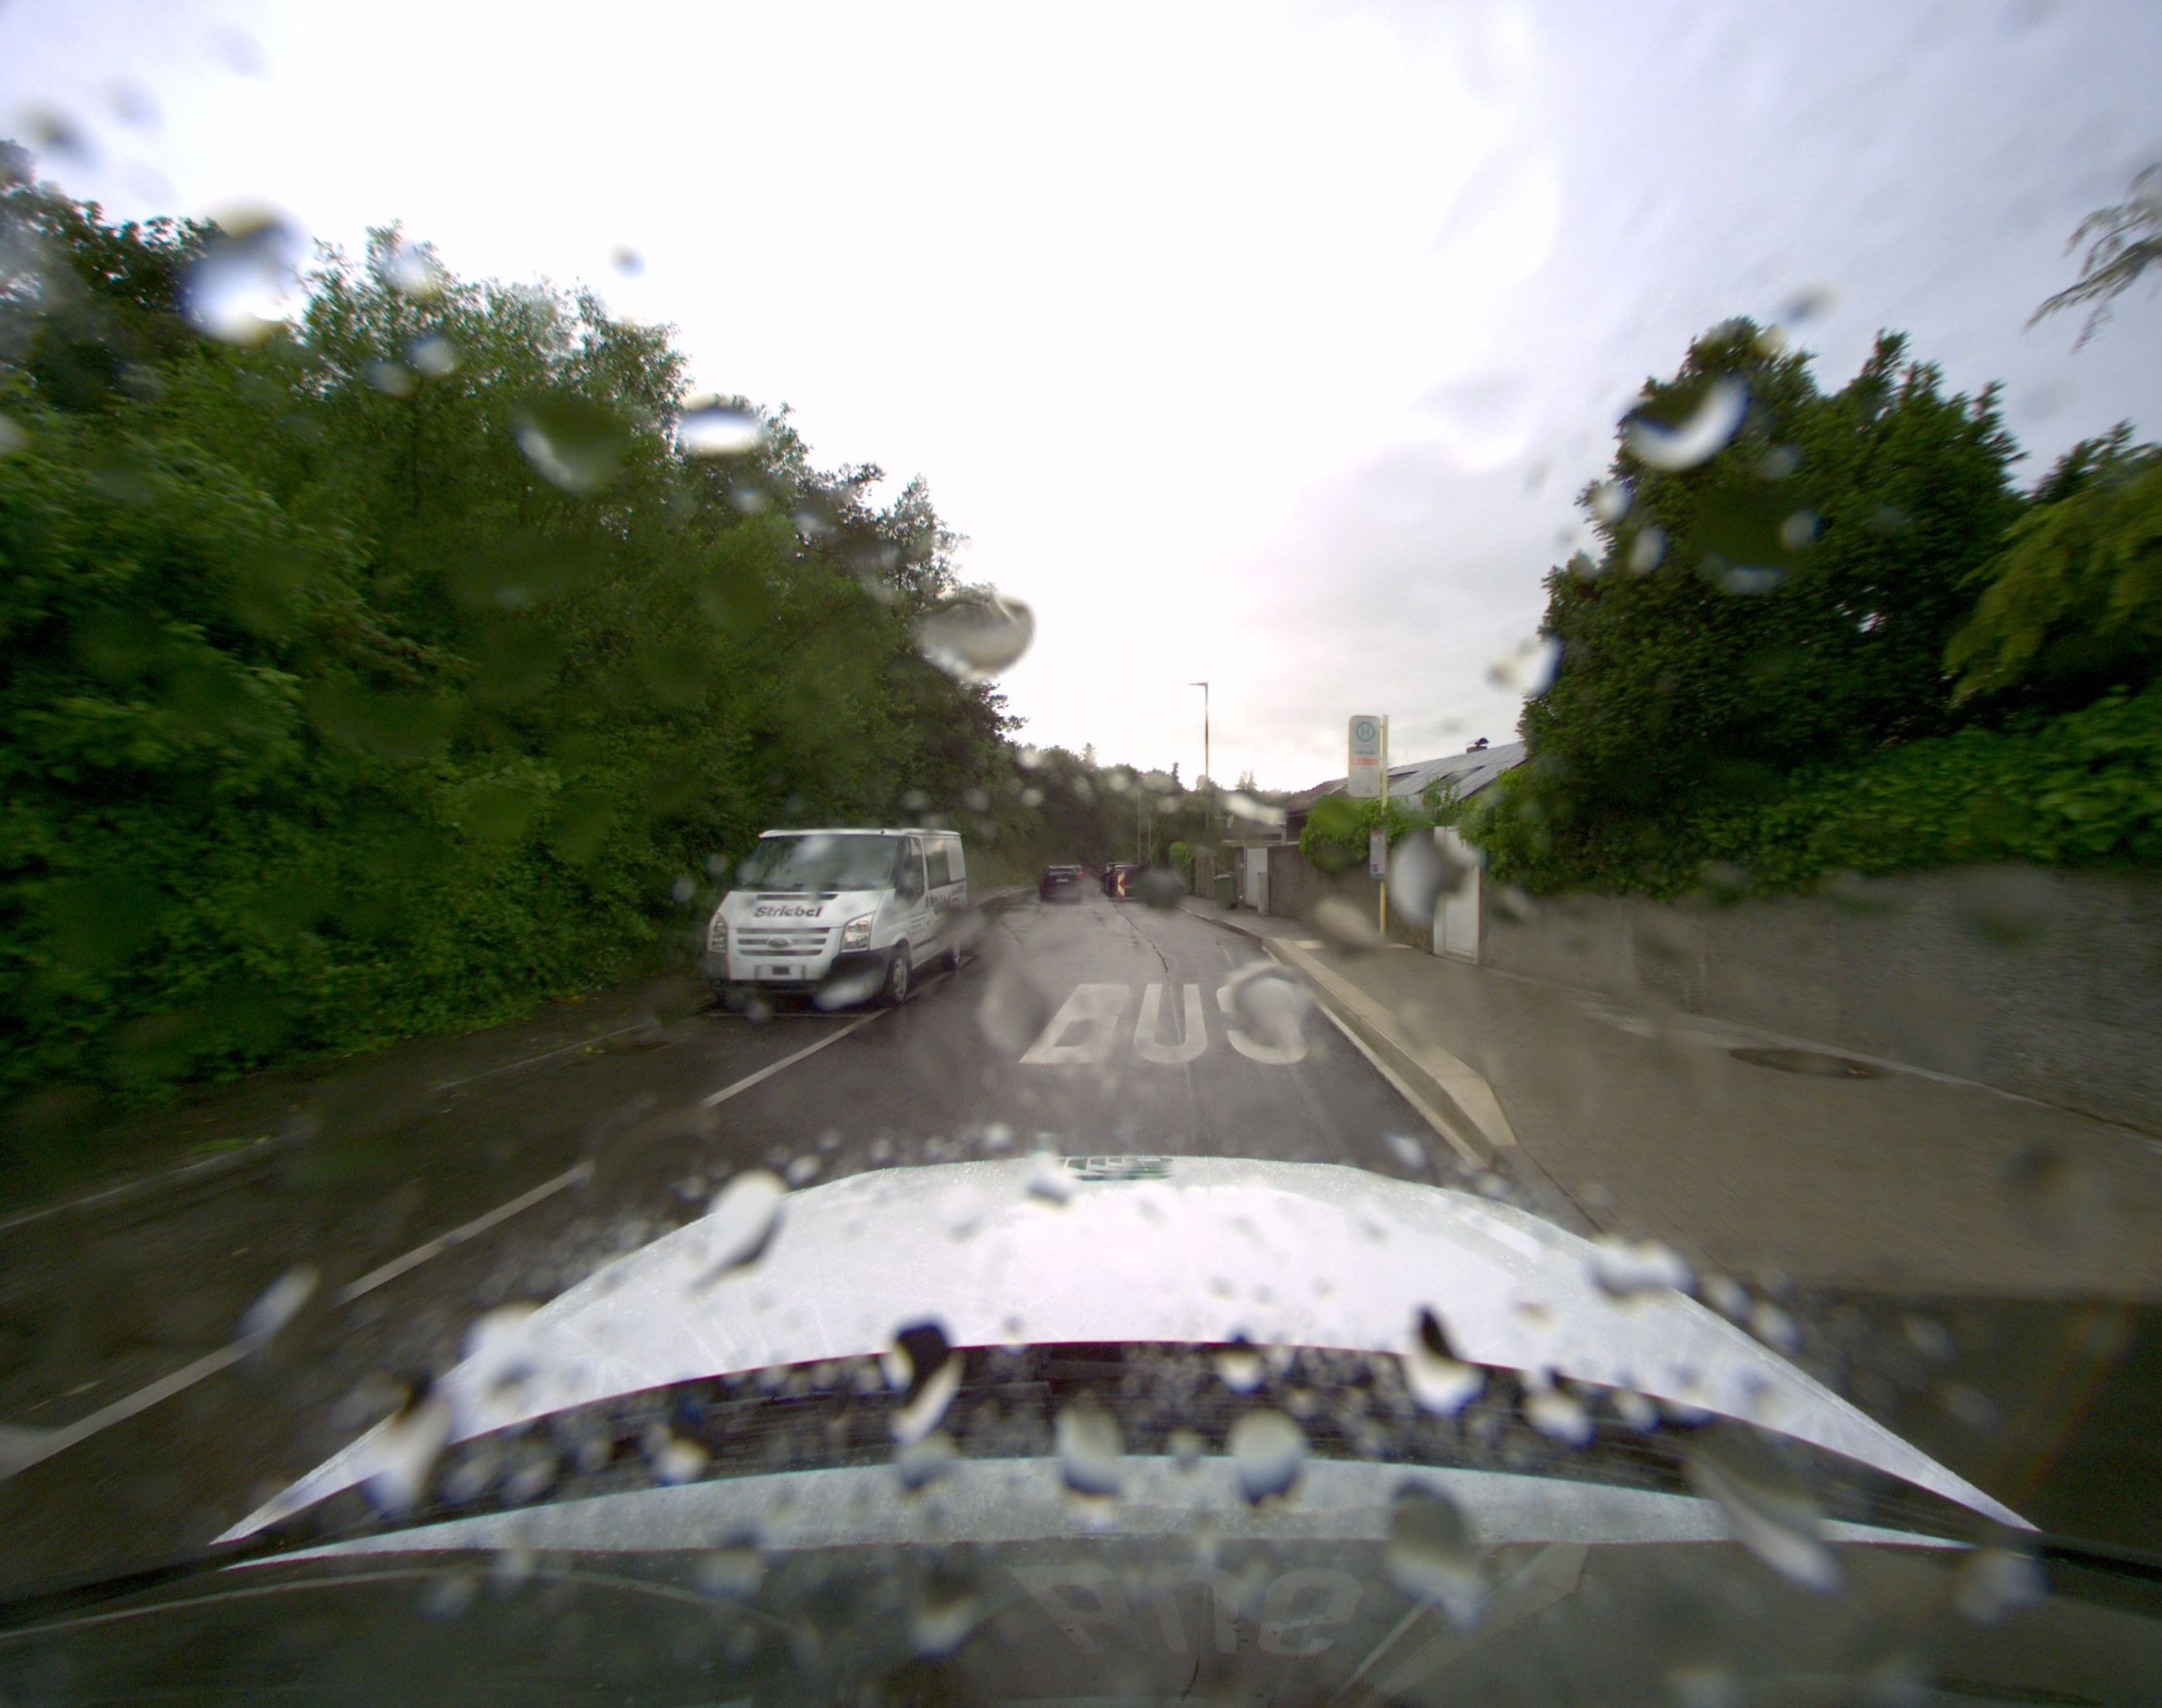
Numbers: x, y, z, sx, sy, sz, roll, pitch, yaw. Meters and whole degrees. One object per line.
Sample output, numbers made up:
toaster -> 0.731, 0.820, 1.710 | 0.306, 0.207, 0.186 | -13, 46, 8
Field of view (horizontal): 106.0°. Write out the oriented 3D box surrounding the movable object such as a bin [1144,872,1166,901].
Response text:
movable object such as a bin -> 2.789, 1.231, 30.770 | 0.727, 1.078, 0.660 | 0, -1, -3

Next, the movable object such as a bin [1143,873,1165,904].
movable object such as a bin -> 2.645, 1.257, 29.617 | 0.714, 1.095, 0.655 | 0, -1, -6

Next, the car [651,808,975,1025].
car -> -2.816, 0.595, 10.095 | 2.103, 1.974, 5.175 | -1, 0, 2

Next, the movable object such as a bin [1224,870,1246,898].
movable object such as a bin -> 6.168, 1.199, 32.572 | 0.742, 1.104, 0.823 | 2, -2, 18

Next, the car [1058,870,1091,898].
car -> -0.400, 1.868, 51.264 | 1.987, 1.605, 4.408 | 0, 0, 0

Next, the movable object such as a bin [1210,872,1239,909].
movable object such as a bin -> 4.424, 1.117, 25.123 | 0.736, 1.088, 0.600 | -2, 0, 1

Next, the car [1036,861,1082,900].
car -> -1.016, 1.244, 36.090 | 1.864, 1.513, 4.086 | 2, -4, -3

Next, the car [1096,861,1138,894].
car -> 1.832, 1.173, 42.536 | 1.870, 1.592, 4.476 | 0, -1, -1

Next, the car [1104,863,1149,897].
car -> 2.048, 1.143, 37.429 | 1.751, 1.462, 4.298 | 0, 0, -1
